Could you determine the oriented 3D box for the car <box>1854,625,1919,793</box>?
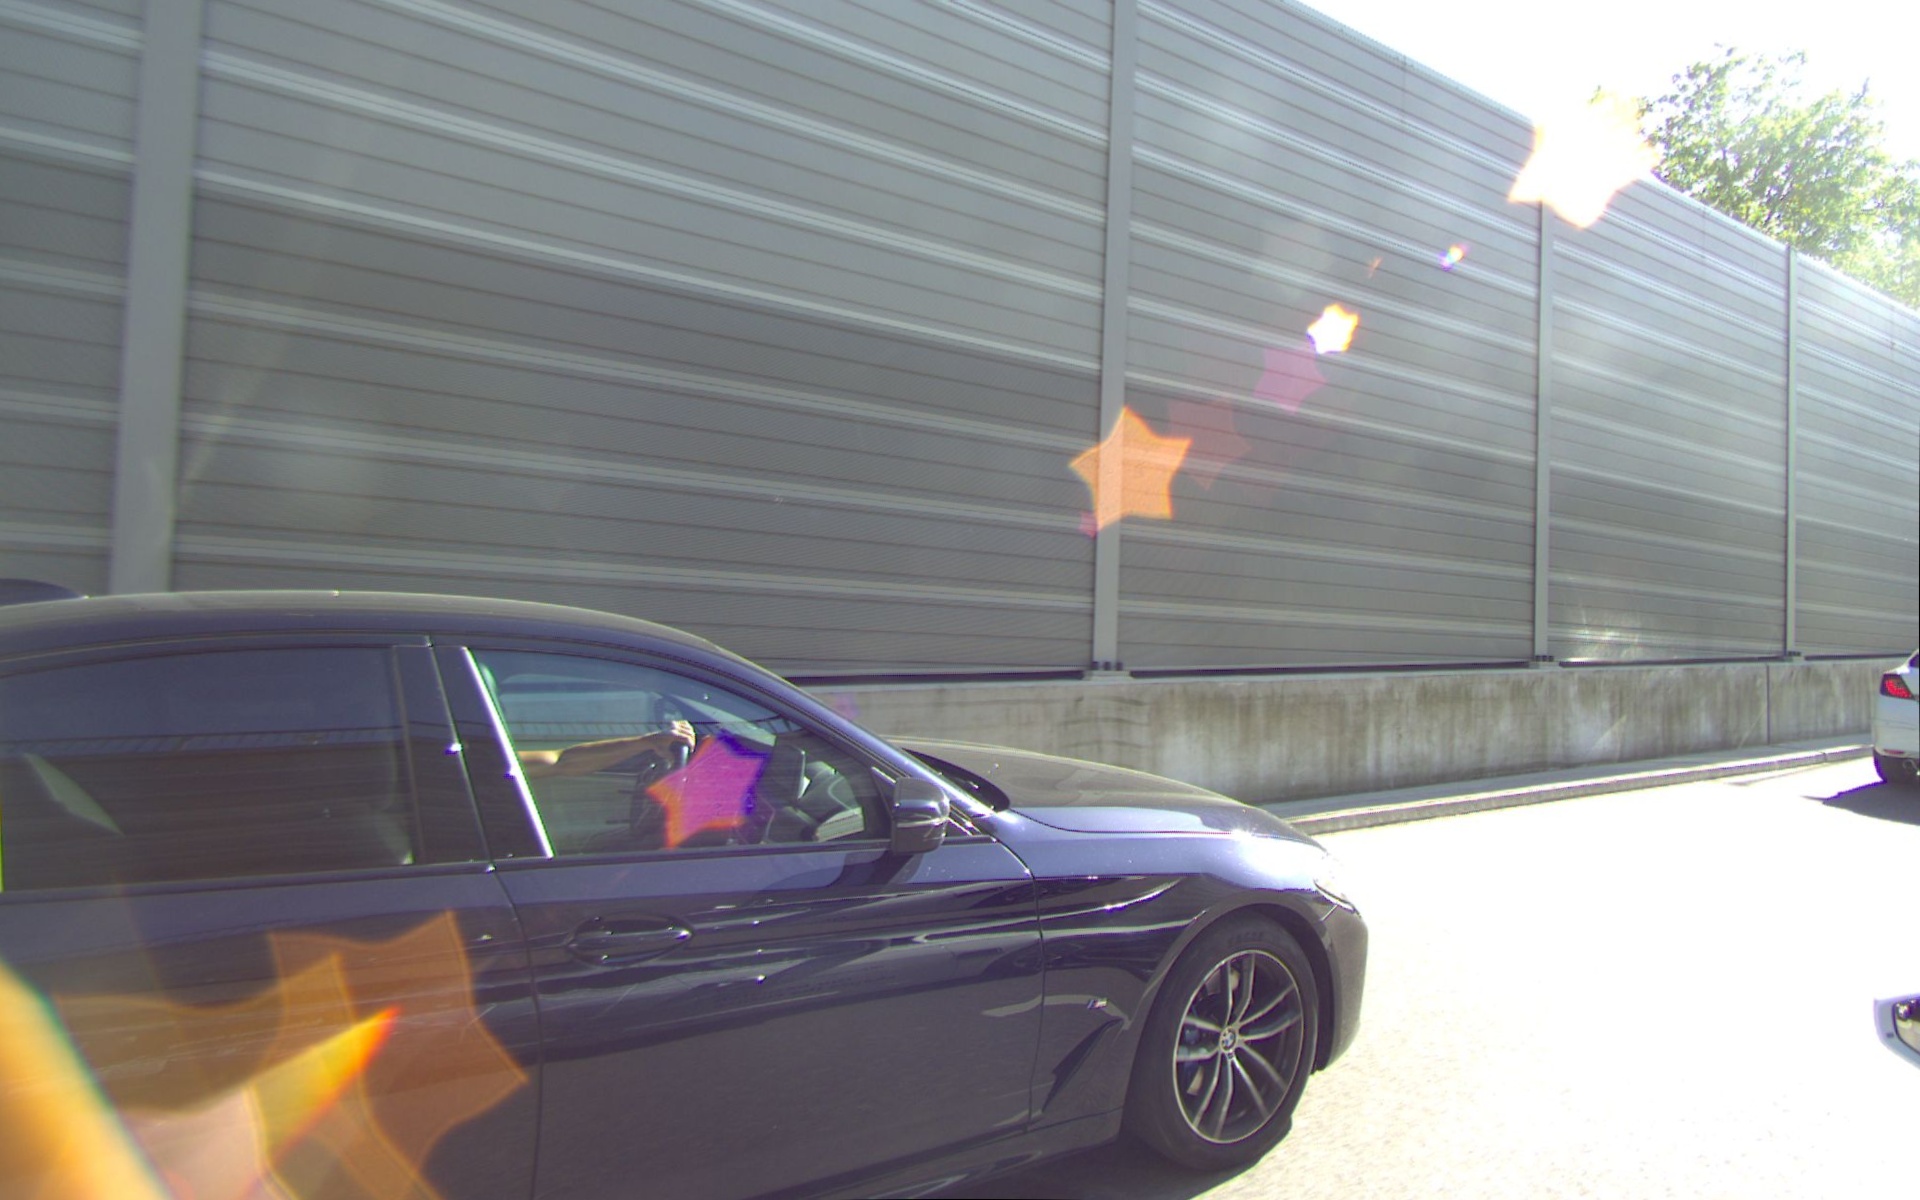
[{"bbox_3d":[10.026,0.977,9.219,3.806,1.422,1.611,1,0,-30],"label":"car"}]

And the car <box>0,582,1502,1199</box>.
[{"bbox_3d":[-0.926,0.707,2.584,4.944,1.458,1.800,0,0,-31],"label":"car"}]
